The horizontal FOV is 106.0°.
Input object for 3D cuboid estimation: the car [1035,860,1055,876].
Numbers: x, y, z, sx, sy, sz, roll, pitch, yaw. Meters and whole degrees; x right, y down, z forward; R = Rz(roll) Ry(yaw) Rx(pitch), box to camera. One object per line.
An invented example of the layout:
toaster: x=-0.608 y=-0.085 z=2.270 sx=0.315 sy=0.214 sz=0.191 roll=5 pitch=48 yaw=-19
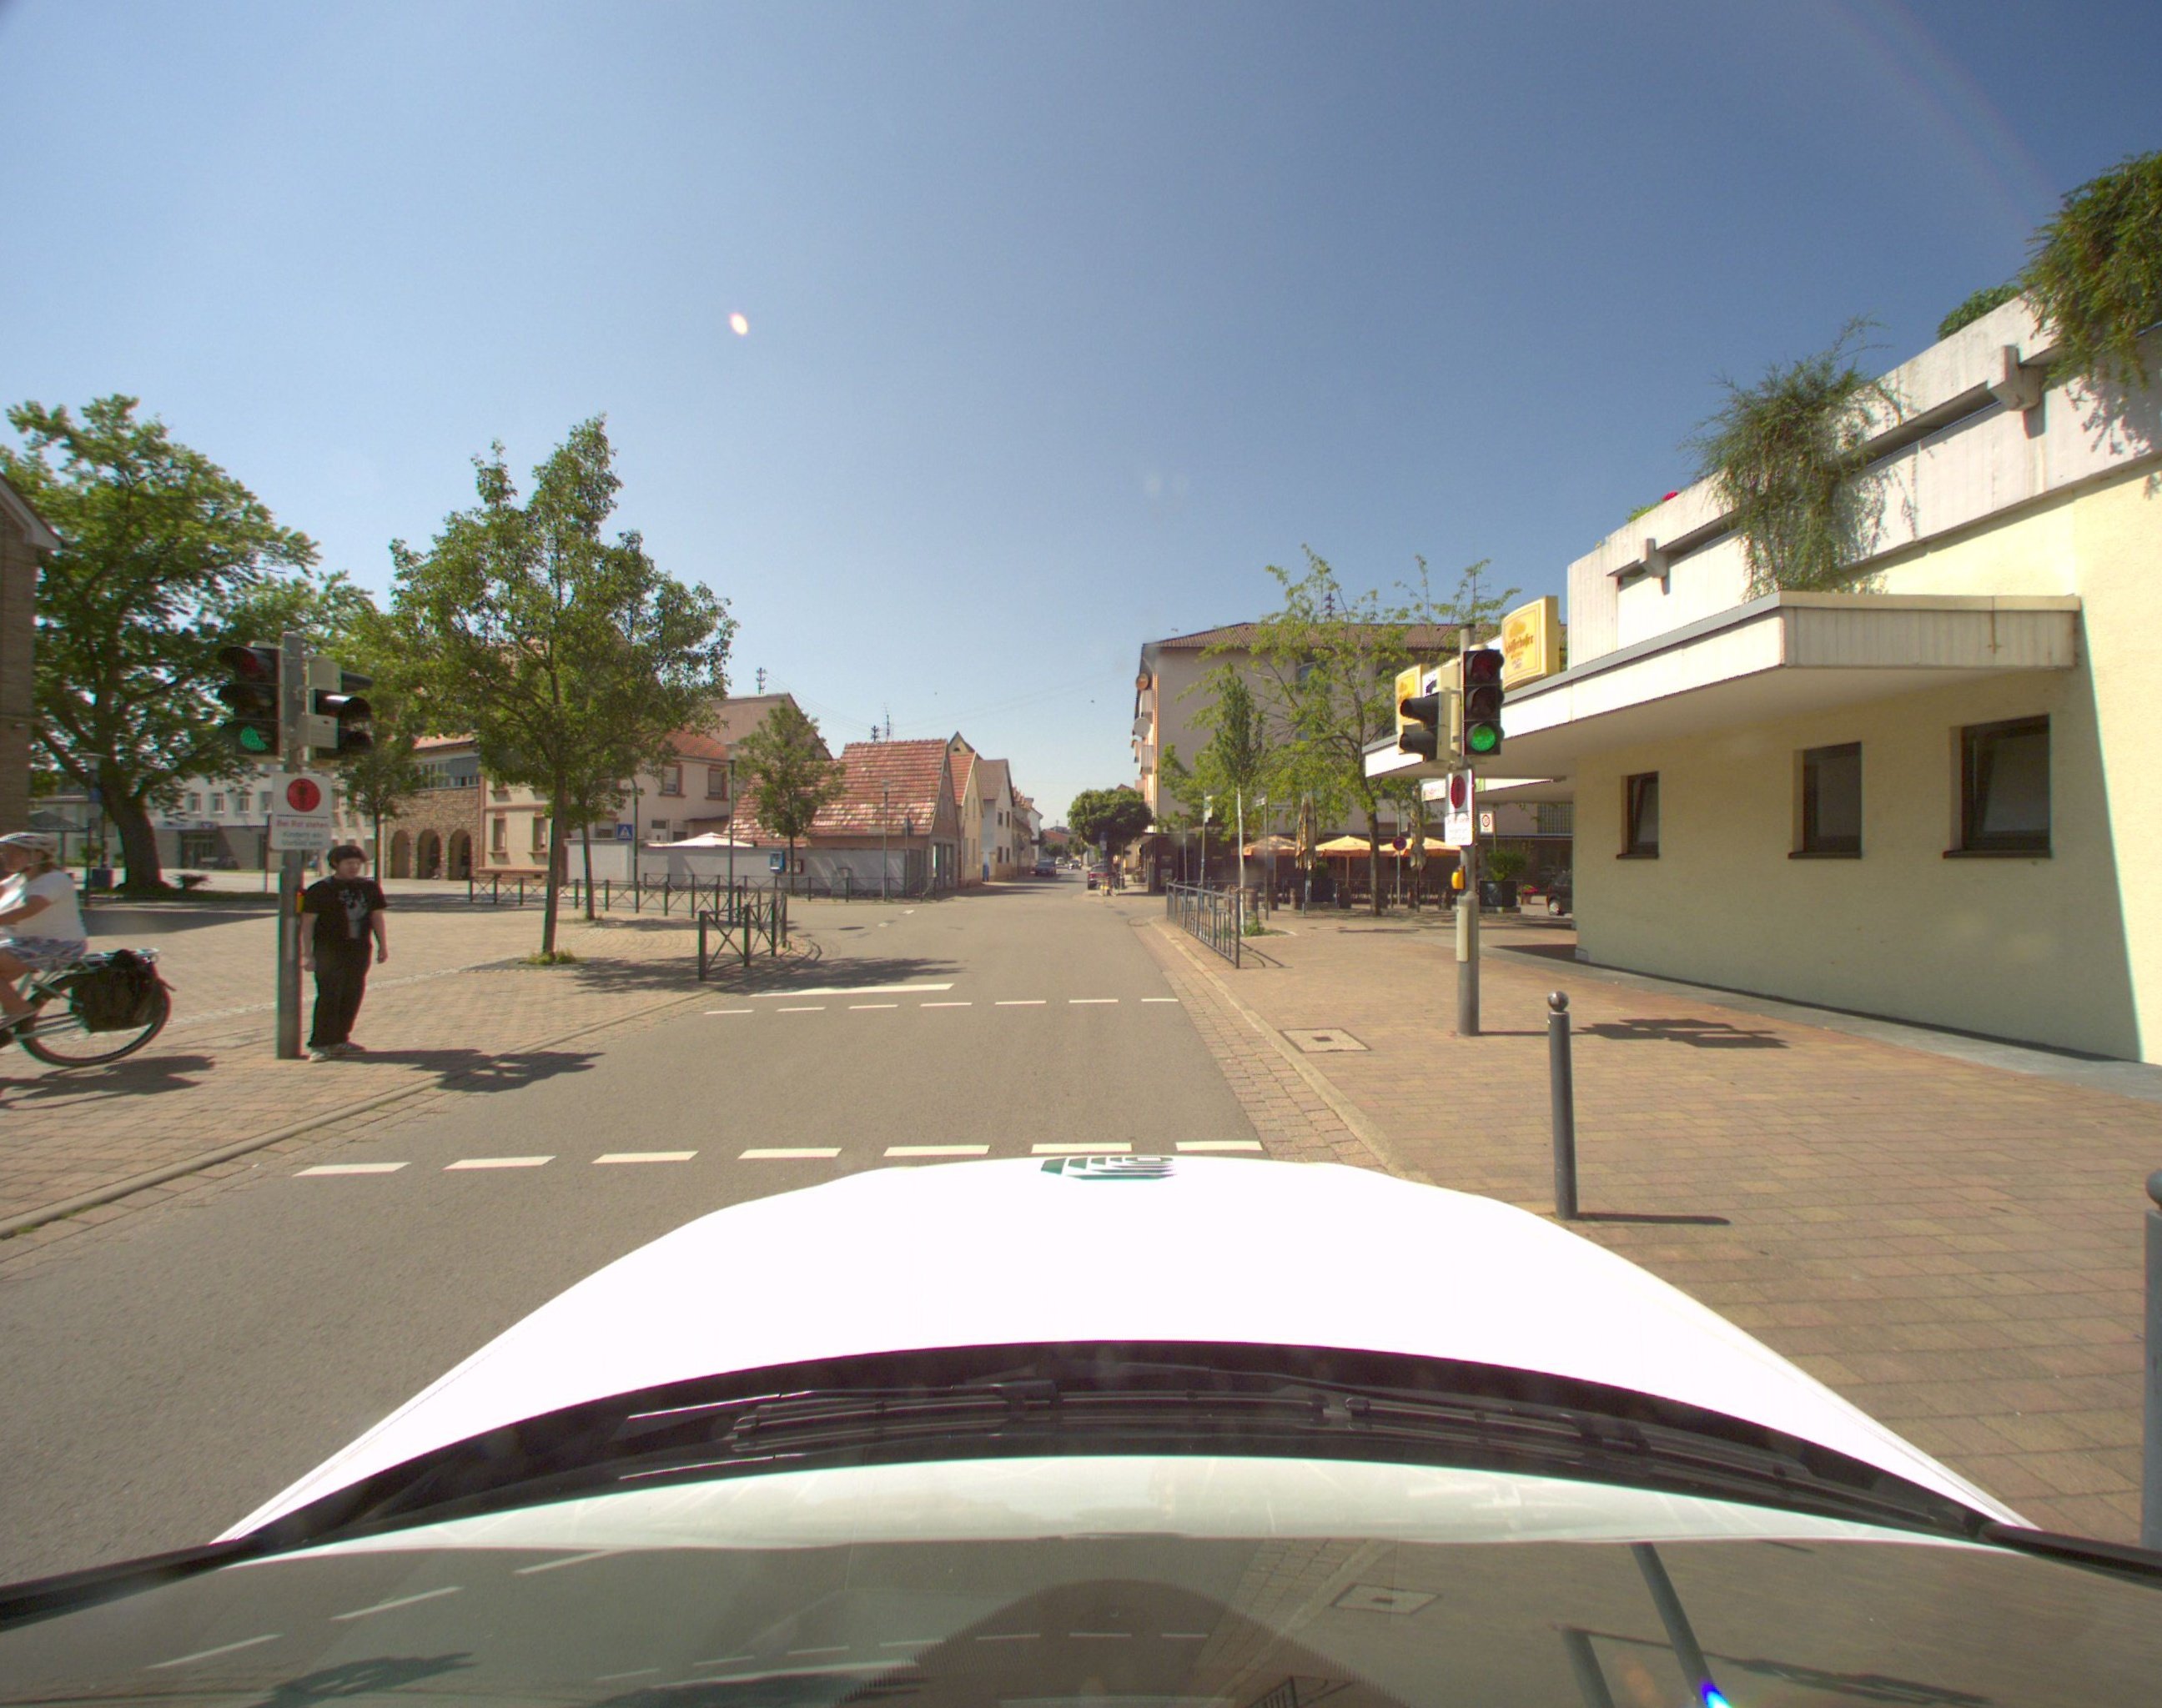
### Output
car: x=-3.439 y=1.322 z=78.435 sx=1.657 sy=1.476 sz=4.135 roll=0 pitch=-1 yaw=1

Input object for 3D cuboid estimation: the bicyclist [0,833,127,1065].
bicyclist: x=-7.284 y=0.617 z=5.517 sx=0.708 sy=1.506 sz=0.875 roll=-1 pitch=-1 yaw=22

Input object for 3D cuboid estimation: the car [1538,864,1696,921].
car: x=15.243 y=1.060 z=23.450 sx=1.763 sy=1.510 sz=3.965 roll=1 pitch=-1 yaw=-4

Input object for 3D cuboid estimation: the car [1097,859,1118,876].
car: x=2.662 y=1.341 z=81.155 sx=2.035 sy=1.689 sz=4.843 roll=0 pitch=-1 yaw=2

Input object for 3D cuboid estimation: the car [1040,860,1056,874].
car: x=-3.457 y=1.345 z=84.994 sx=1.659 sy=1.476 sz=3.448 roll=0 pitch=-1 yaw=-2

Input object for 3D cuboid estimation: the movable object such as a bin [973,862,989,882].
movable object such as a bin: x=-7.016 y=1.270 z=57.086 sx=1.096 sy=1.366 sz=0.390 roll=0 pitch=-1 yaw=5

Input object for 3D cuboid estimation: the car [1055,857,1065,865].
car: x=-4.318 y=1.522 z=170.322 sx=2.021 sy=1.598 sz=4.507 roll=0 pitch=-1 yaw=0

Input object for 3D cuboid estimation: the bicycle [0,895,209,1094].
bicycle: x=-7.368 y=0.941 z=5.435 sx=0.702 sy=1.252 sz=1.983 roll=-1 pitch=-1 yaw=22

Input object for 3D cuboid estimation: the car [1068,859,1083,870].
car: x=-0.801 y=1.564 z=117.065 sx=1.906 sy=1.481 sz=4.835 roll=0 pitch=-1 yaw=-5

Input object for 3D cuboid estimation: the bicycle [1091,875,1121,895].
bicycle: x=1.194 y=1.481 z=38.665 sx=1.396 sy=0.897 sz=0.468 roll=-2 pitch=0 yaw=38

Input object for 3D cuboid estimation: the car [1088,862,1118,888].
car: x=1.299 y=1.201 z=47.297 sx=1.569 sy=1.454 sz=3.489 roll=0 pitch=-1 yaw=4

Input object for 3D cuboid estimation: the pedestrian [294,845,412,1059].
pedestrian: x=-5.872 y=0.753 z=6.576 sx=0.543 sy=1.619 sz=0.561 roll=-1 pitch=-2 yaw=35
